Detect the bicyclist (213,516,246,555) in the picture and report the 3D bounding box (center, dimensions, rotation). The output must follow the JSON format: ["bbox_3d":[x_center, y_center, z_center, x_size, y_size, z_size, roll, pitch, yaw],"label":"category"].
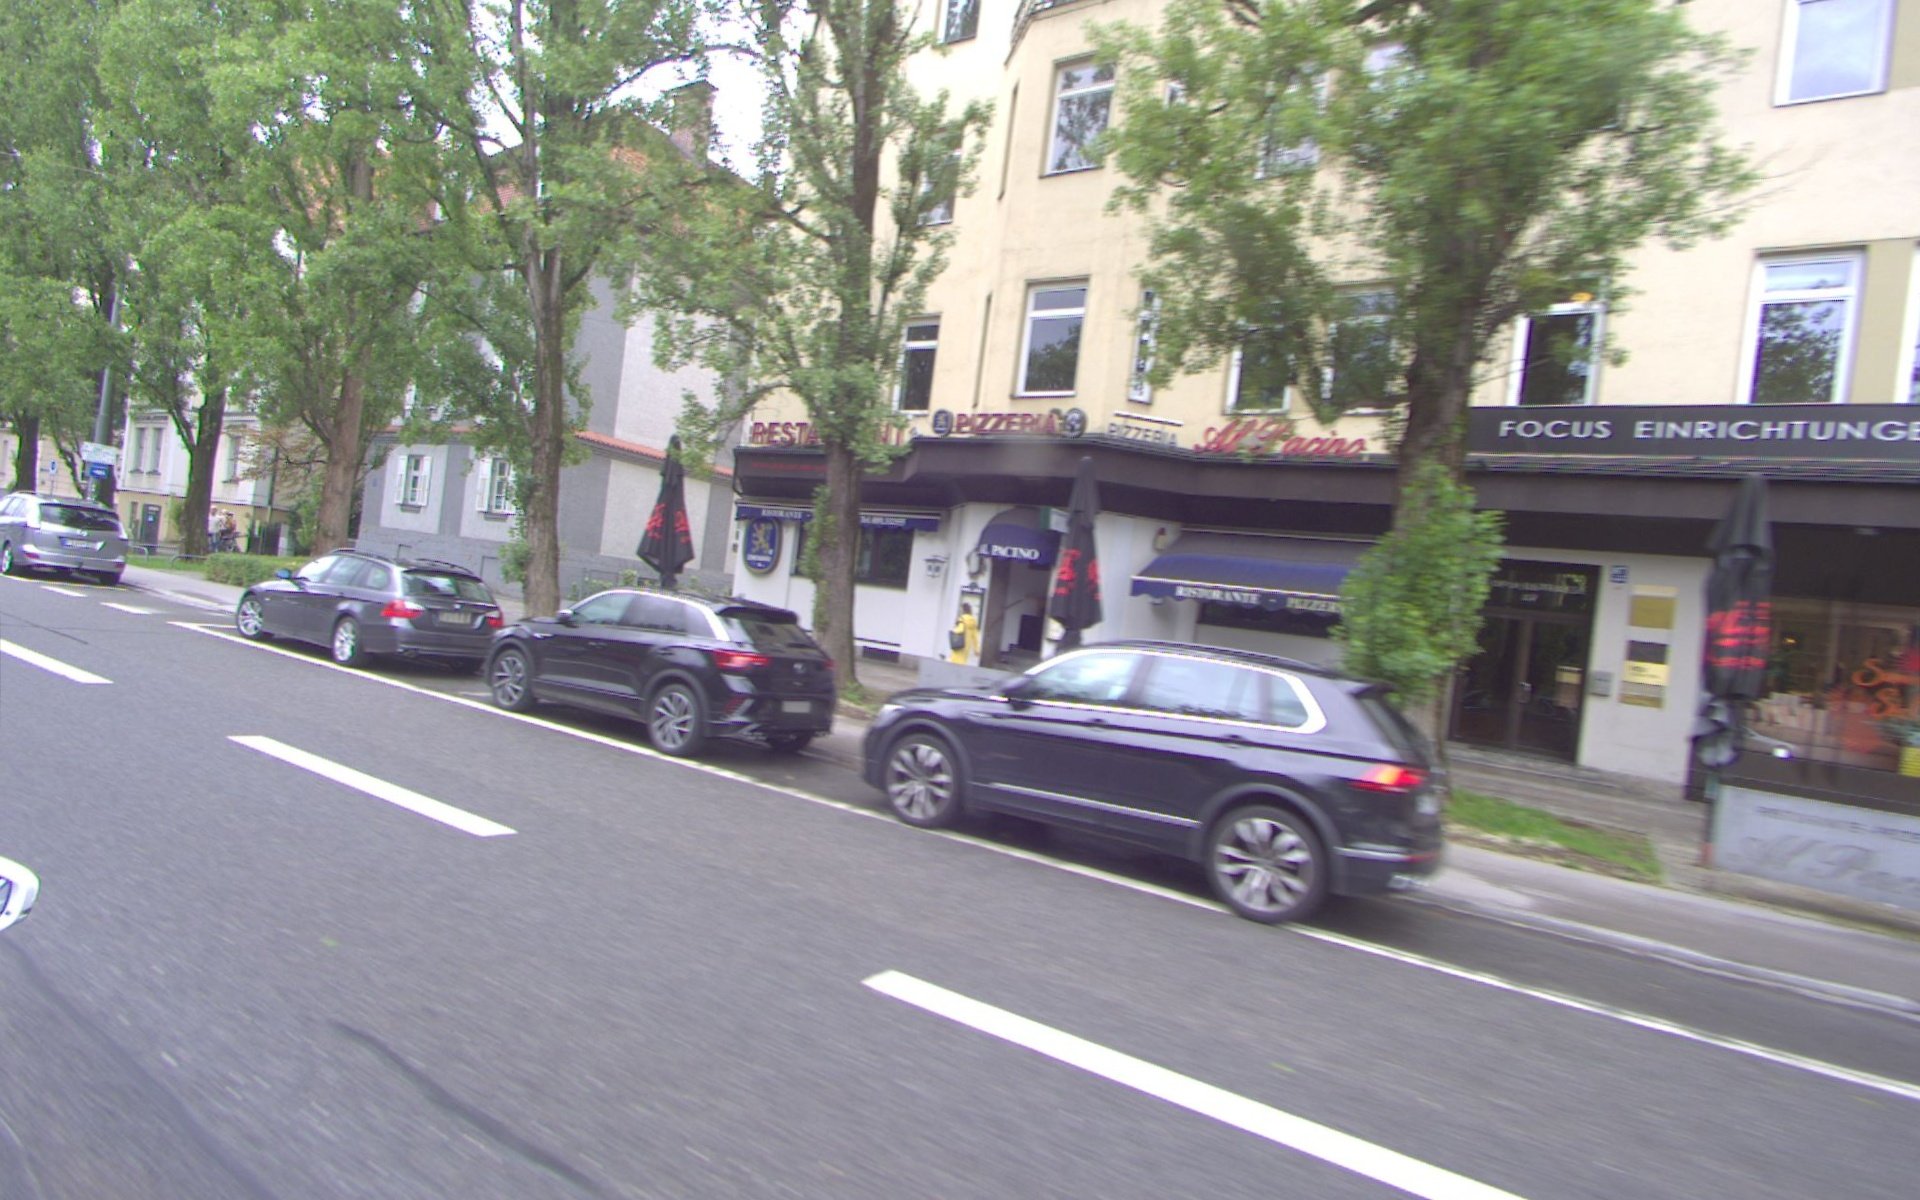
[{"bbox_3d":[-27.128,-2.390,37.365,0.694,1.331,0.661,7,1,32],"label":"bicyclist"}]

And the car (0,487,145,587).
[{"bbox_3d":[-18.662,-1.366,20.471,4.472,1.632,1.801,7,0,32],"label":"car"}]

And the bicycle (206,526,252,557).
[{"bbox_3d":[-27.137,-2.188,37.340,1.871,0.934,0.653,7,0,32],"label":"bicycle"}]

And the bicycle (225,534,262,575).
[{"bbox_3d":[-20.434,-1.292,28.675,1.208,1.000,0.355,9,1,34],"label":"bicycle"}]

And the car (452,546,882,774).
[{"bbox_3d":[-3.117,0.522,10.412,4.234,1.632,1.801,7,0,32],"label":"car"}]

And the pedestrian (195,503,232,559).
[{"bbox_3d":[-25.538,-2.368,34.405,0.811,1.760,0.592,9,1,34],"label":"pedestrian"}]

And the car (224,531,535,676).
[{"bbox_3d":[-8.008,0.024,13.772,4.310,1.415,1.801,7,0,32],"label":"car"}]

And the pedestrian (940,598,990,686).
[{"bbox_3d":[0.101,0.805,19.192,0.487,1.581,0.573,9,1,33],"label":"pedestrian"}]

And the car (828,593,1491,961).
[{"bbox_3d":[1.339,1.048,7.517,4.397,1.632,1.723,7,0,32],"label":"car"}]
